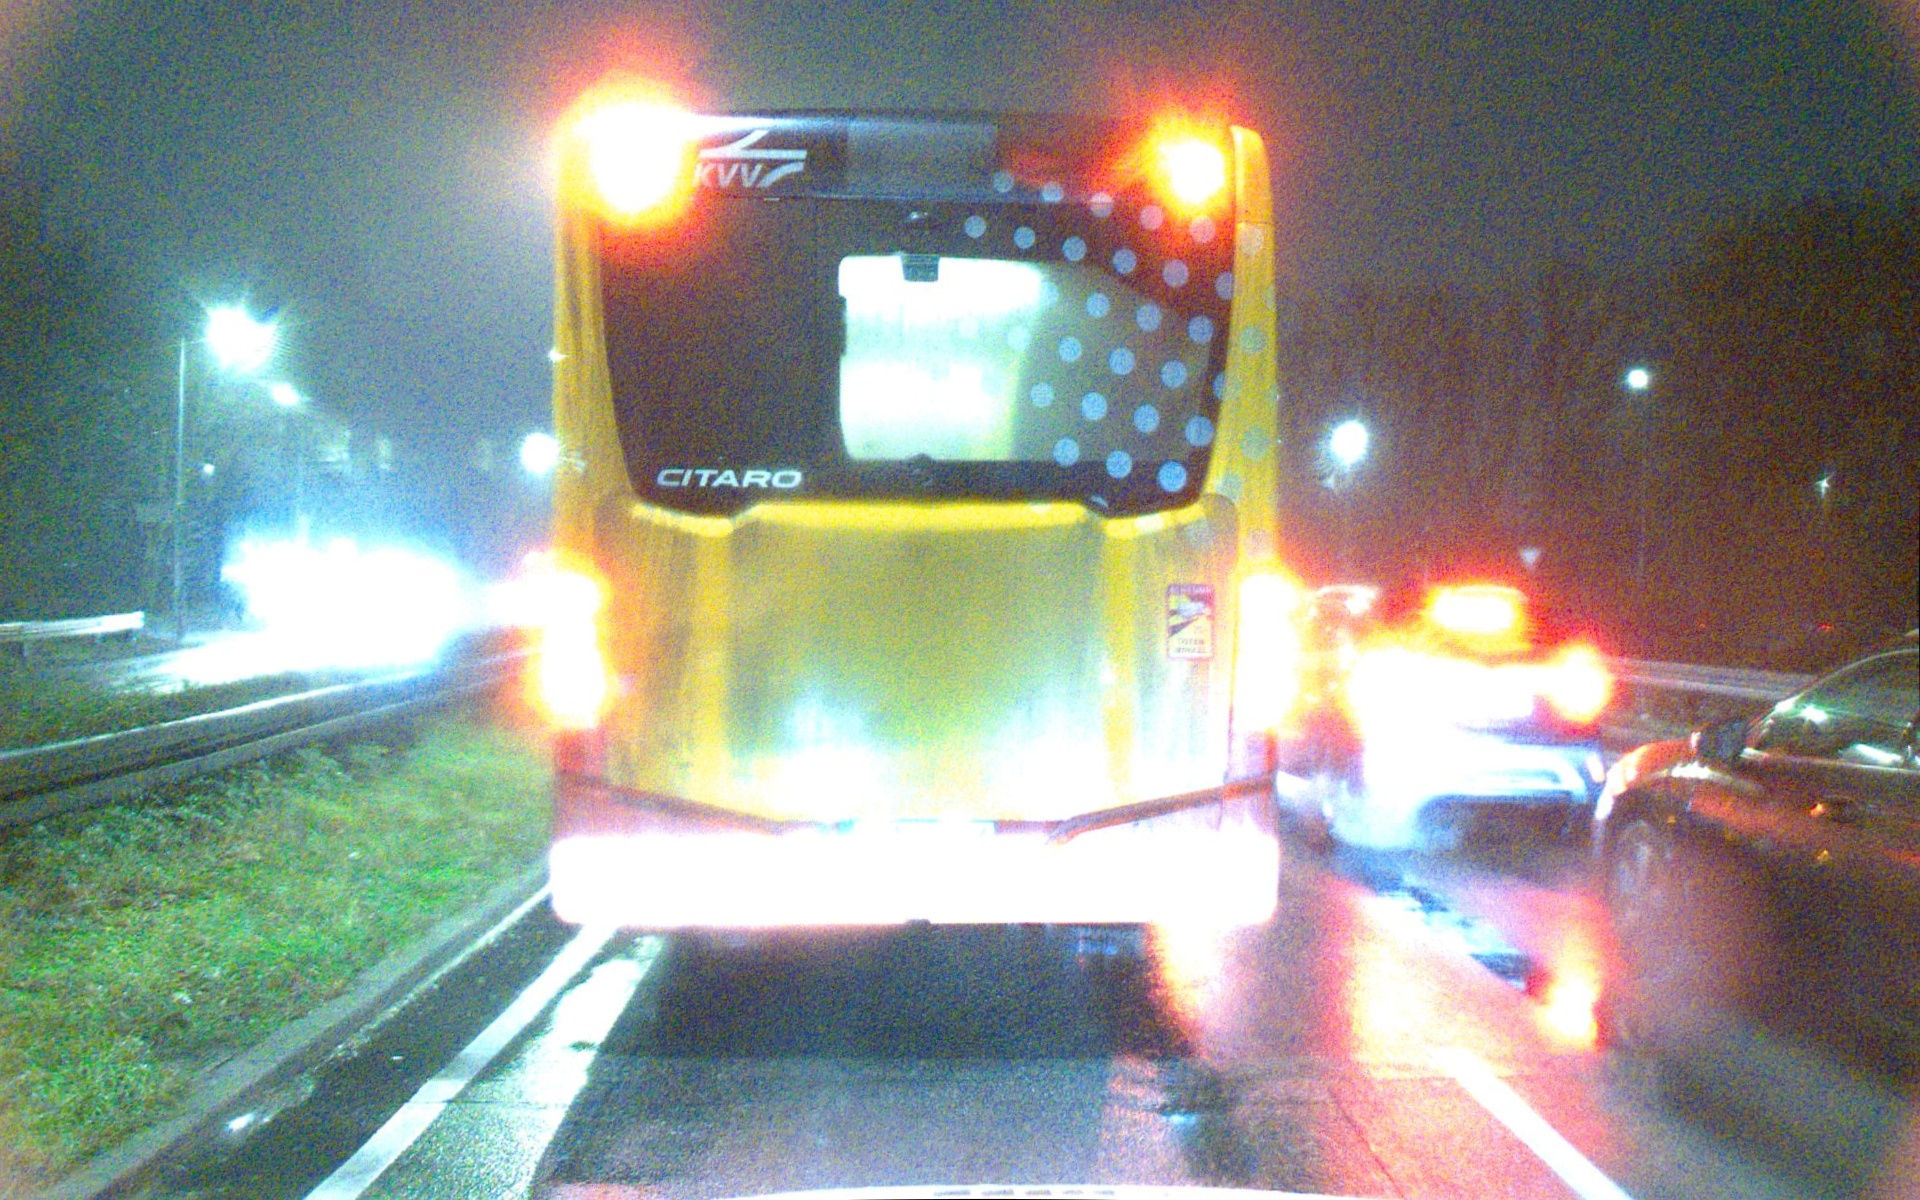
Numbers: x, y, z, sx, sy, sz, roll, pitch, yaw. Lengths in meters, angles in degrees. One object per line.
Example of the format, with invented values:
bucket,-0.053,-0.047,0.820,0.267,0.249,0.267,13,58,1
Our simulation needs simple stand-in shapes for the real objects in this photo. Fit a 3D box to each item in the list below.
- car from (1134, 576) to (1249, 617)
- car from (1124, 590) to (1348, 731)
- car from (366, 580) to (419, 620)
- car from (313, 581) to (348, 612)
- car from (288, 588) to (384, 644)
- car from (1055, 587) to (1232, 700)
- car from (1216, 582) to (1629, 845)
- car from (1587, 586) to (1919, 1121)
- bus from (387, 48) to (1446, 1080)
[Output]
car,9.599,-0.145,68.725,4.399,1.545,1.854,1,2,-9
car,2.873,0.584,18.023,1.652,1.353,3.959,0,0,-2
car,-21.382,-0.009,62.403,1.684,1.448,4.646,0,0,-17
car,-34.331,-0.221,90.217,1.740,1.659,4.224,0,1,-21
car,-17.992,0.429,47.871,1.959,1.534,4.823,0,0,-13
car,2.557,0.588,23.966,1.953,1.466,3.998,1,0,-3
car,3.068,0.687,11.836,1.644,1.548,3.957,1,0,-3
car,3.588,0.756,4.893,1.639,1.532,4.558,2,0,-1
bus,-0.300,-0.239,9.823,3.219,3.103,9.540,0,2,-2
